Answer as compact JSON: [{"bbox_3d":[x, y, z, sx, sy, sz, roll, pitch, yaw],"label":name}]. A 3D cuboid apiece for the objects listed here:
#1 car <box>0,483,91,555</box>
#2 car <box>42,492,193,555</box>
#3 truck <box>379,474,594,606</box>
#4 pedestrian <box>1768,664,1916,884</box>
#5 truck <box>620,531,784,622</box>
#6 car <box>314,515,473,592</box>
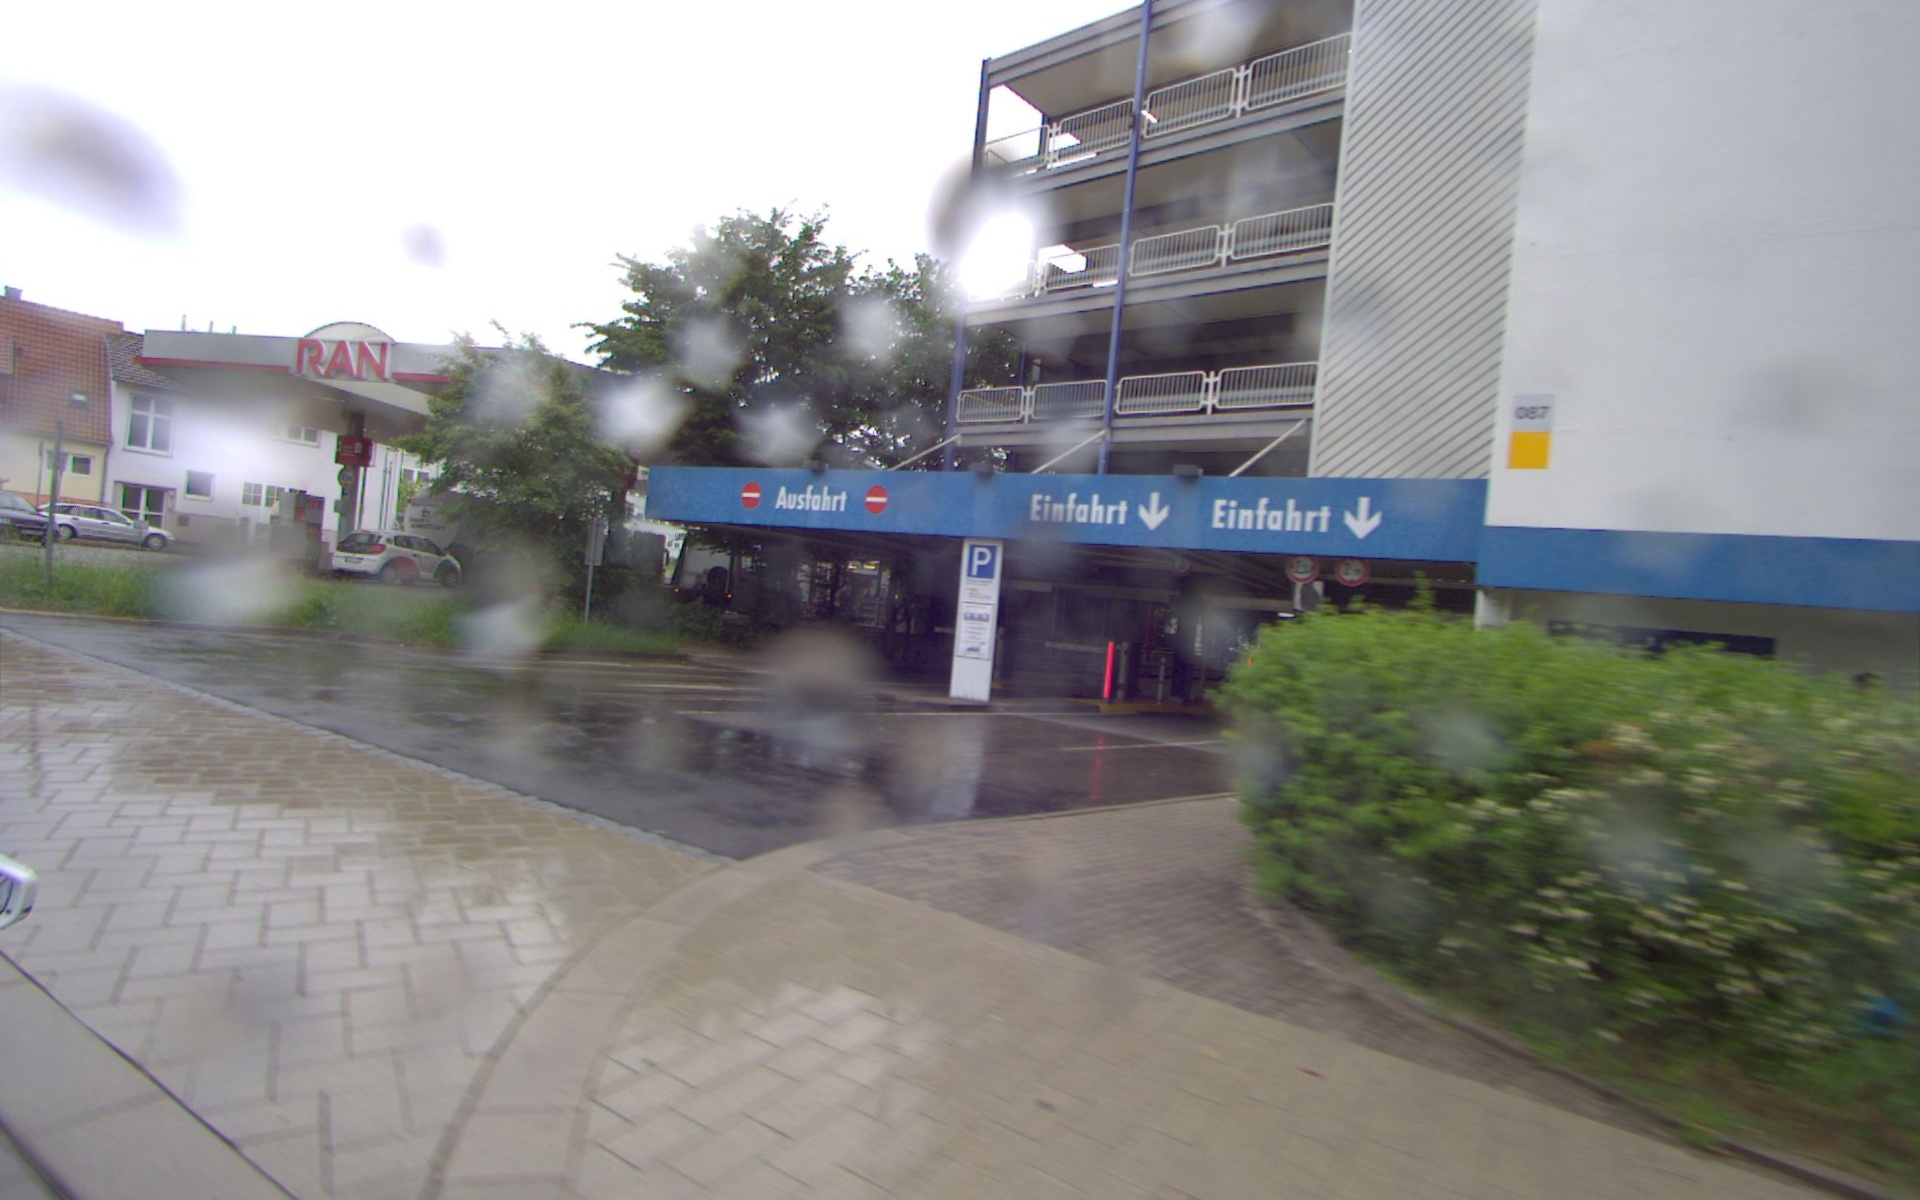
[{"bbox_3d":[-26.699,-2.343,27.986,3.926,1.568,2.004,5,-5,20],"label":"car"},{"bbox_3d":[-32.065,-2.863,38.363,1.927,1.571,3.990,3,-6,40],"label":"car"},{"bbox_3d":[-17.735,-2.090,38.470,2.629,3.479,7.766,6,-5,16],"label":"truck"},{"bbox_3d":[8.131,1.568,9.309,0.759,1.858,0.570,7,0,29],"label":"pedestrian"},{"bbox_3d":[-7.283,-0.673,28.433,3.929,2.034,2.002,5,-5,26],"label":"truck"},{"bbox_3d":[-15.823,-1.249,28.327,1.917,1.573,3.533,6,-3,12],"label":"car"}]
